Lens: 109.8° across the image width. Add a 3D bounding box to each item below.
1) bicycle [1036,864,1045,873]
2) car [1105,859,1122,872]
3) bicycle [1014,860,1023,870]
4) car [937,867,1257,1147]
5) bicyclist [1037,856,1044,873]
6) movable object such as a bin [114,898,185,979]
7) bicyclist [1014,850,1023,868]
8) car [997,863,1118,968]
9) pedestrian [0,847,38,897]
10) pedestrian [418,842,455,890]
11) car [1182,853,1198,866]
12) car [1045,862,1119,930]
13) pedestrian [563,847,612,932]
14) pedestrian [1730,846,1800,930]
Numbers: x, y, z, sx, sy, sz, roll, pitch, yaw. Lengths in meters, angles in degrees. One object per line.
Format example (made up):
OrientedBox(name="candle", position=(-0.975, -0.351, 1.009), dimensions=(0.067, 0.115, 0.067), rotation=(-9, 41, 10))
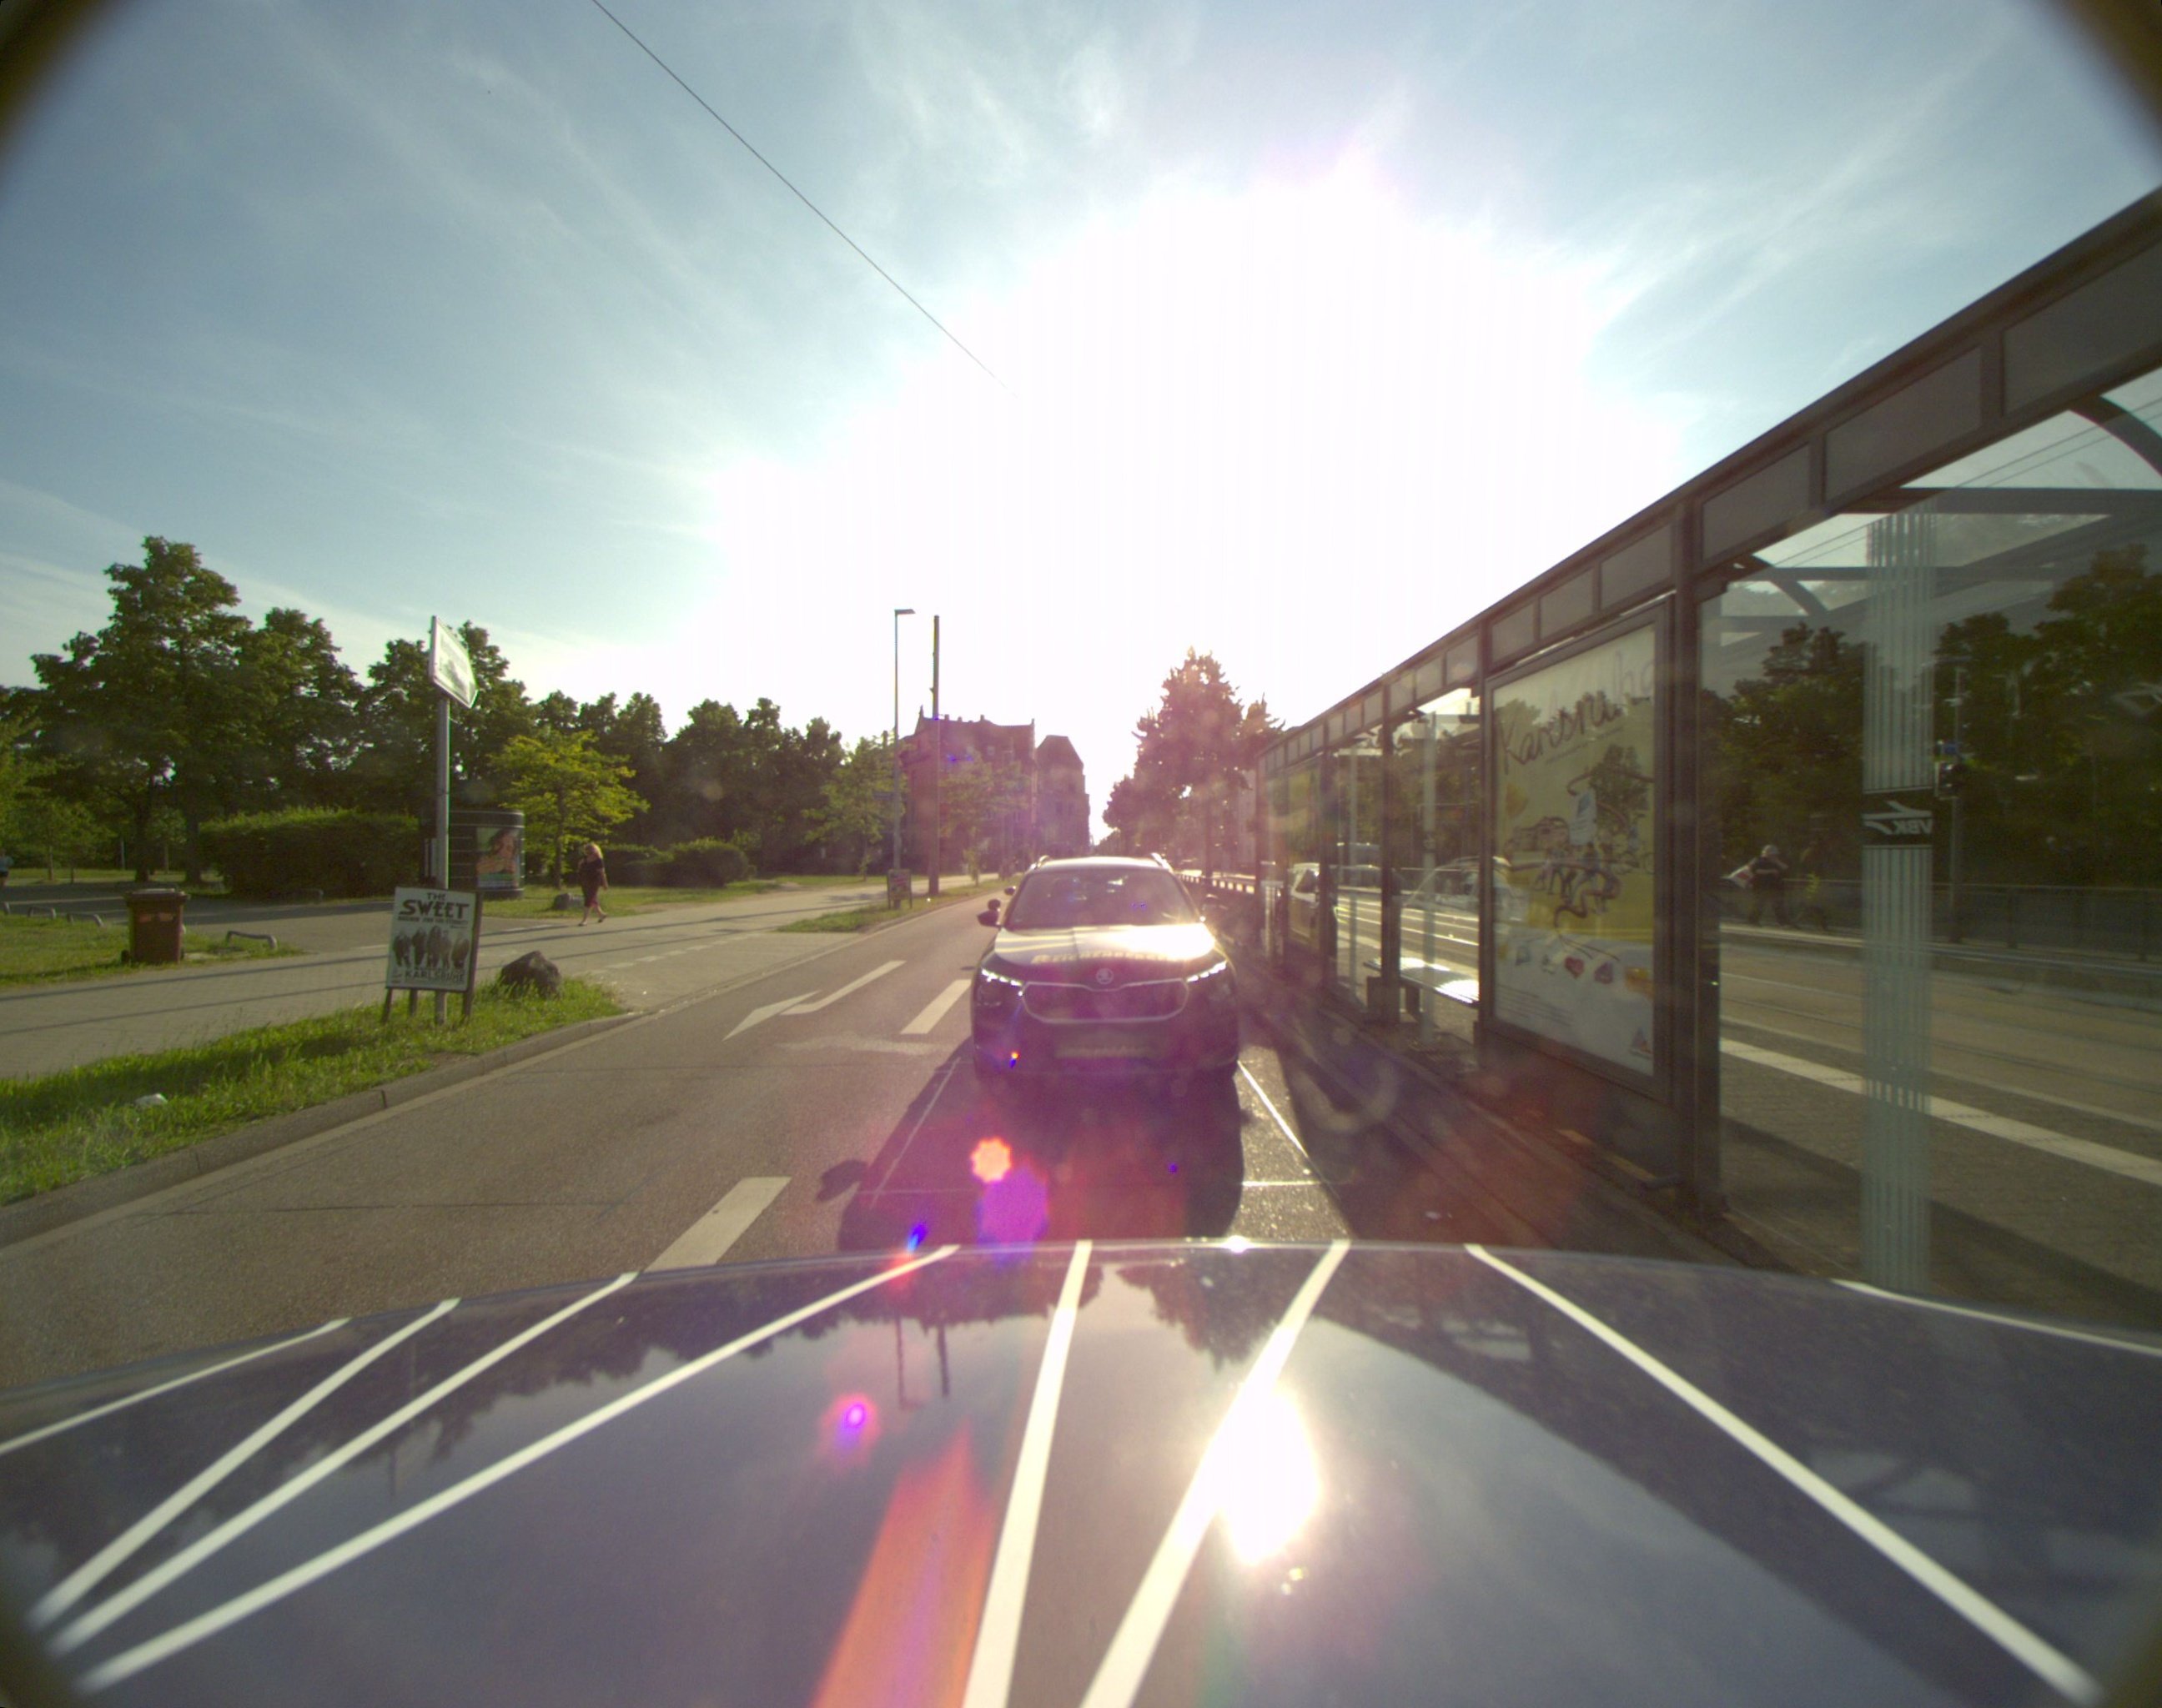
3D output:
OrientedBox(name="bicycle", position=(-4.099, 1.465, 77.010), dimensions=(0.740, 0.912, 2.094), rotation=(0, 0, 0))
OrientedBox(name="car", position=(4.262, 1.576, 101.076), dimensions=(1.999, 1.674, 3.999), rotation=(0, 0, -1))
OrientedBox(name="bicycle", position=(-6.238, 1.104, 75.774), dimensions=(0.740, 0.912, 2.095), rotation=(0, 0, 1))
OrientedBox(name="car", position=(0.112, 0.886, 6.244), dimensions=(1.781, 1.496, 4.000), rotation=(0, 0, 1))
OrientedBox(name="bicyclist", position=(-4.098, 1.077, 77.059), dimensions=(0.730, 1.763, 1.015), rotation=(0, 0, -1))
OrientedBox(name="movable object such as a bin", position=(-11.329, 1.010, 9.250), dimensions=(0.502, 0.898, 0.526), rotation=(1, 1, 39))
OrientedBox(name="bicyclist", position=(-6.219, 0.512, 75.793), dimensions=(0.753, 1.763, 1.119), rotation=(0, 0, 1))
OrientedBox(name="car", position=(-0.326, 0.934, 13.242), dimensions=(1.781, 1.496, 4.000), rotation=(0, 0, 1))
OrientedBox(name="pedestrian", position=(-35.467, 0.576, 25.371), dimensions=(0.660, 1.641, 0.623), rotation=(0, 1, 26))
OrientedBox(name="pedestrian", position=(-28.857, 0.530, 34.049), dimensions=(0.910, 2.145, 0.891), rotation=(0, 0, 13))
OrientedBox(name="car", position=(16.906, 0.874, 118.239), dimensions=(1.998, 2.002, 4.000), rotation=(0, 0, 0))
OrientedBox(name="car", position=(0.052, 0.965, 19.086), dimensions=(1.672, 1.496, 3.872), rotation=(0, 0, 1))
OrientedBox(name="pedestrian", position=(-9.965, 0.705, 15.356), dimensions=(0.558, 1.691, 0.662), rotation=(0, 1, 0))
OrientedBox(name="pedestrian", position=(13.367, 0.650, 14.863), dimensions=(0.736, 1.618, 0.689), rotation=(0, 0, 1))
